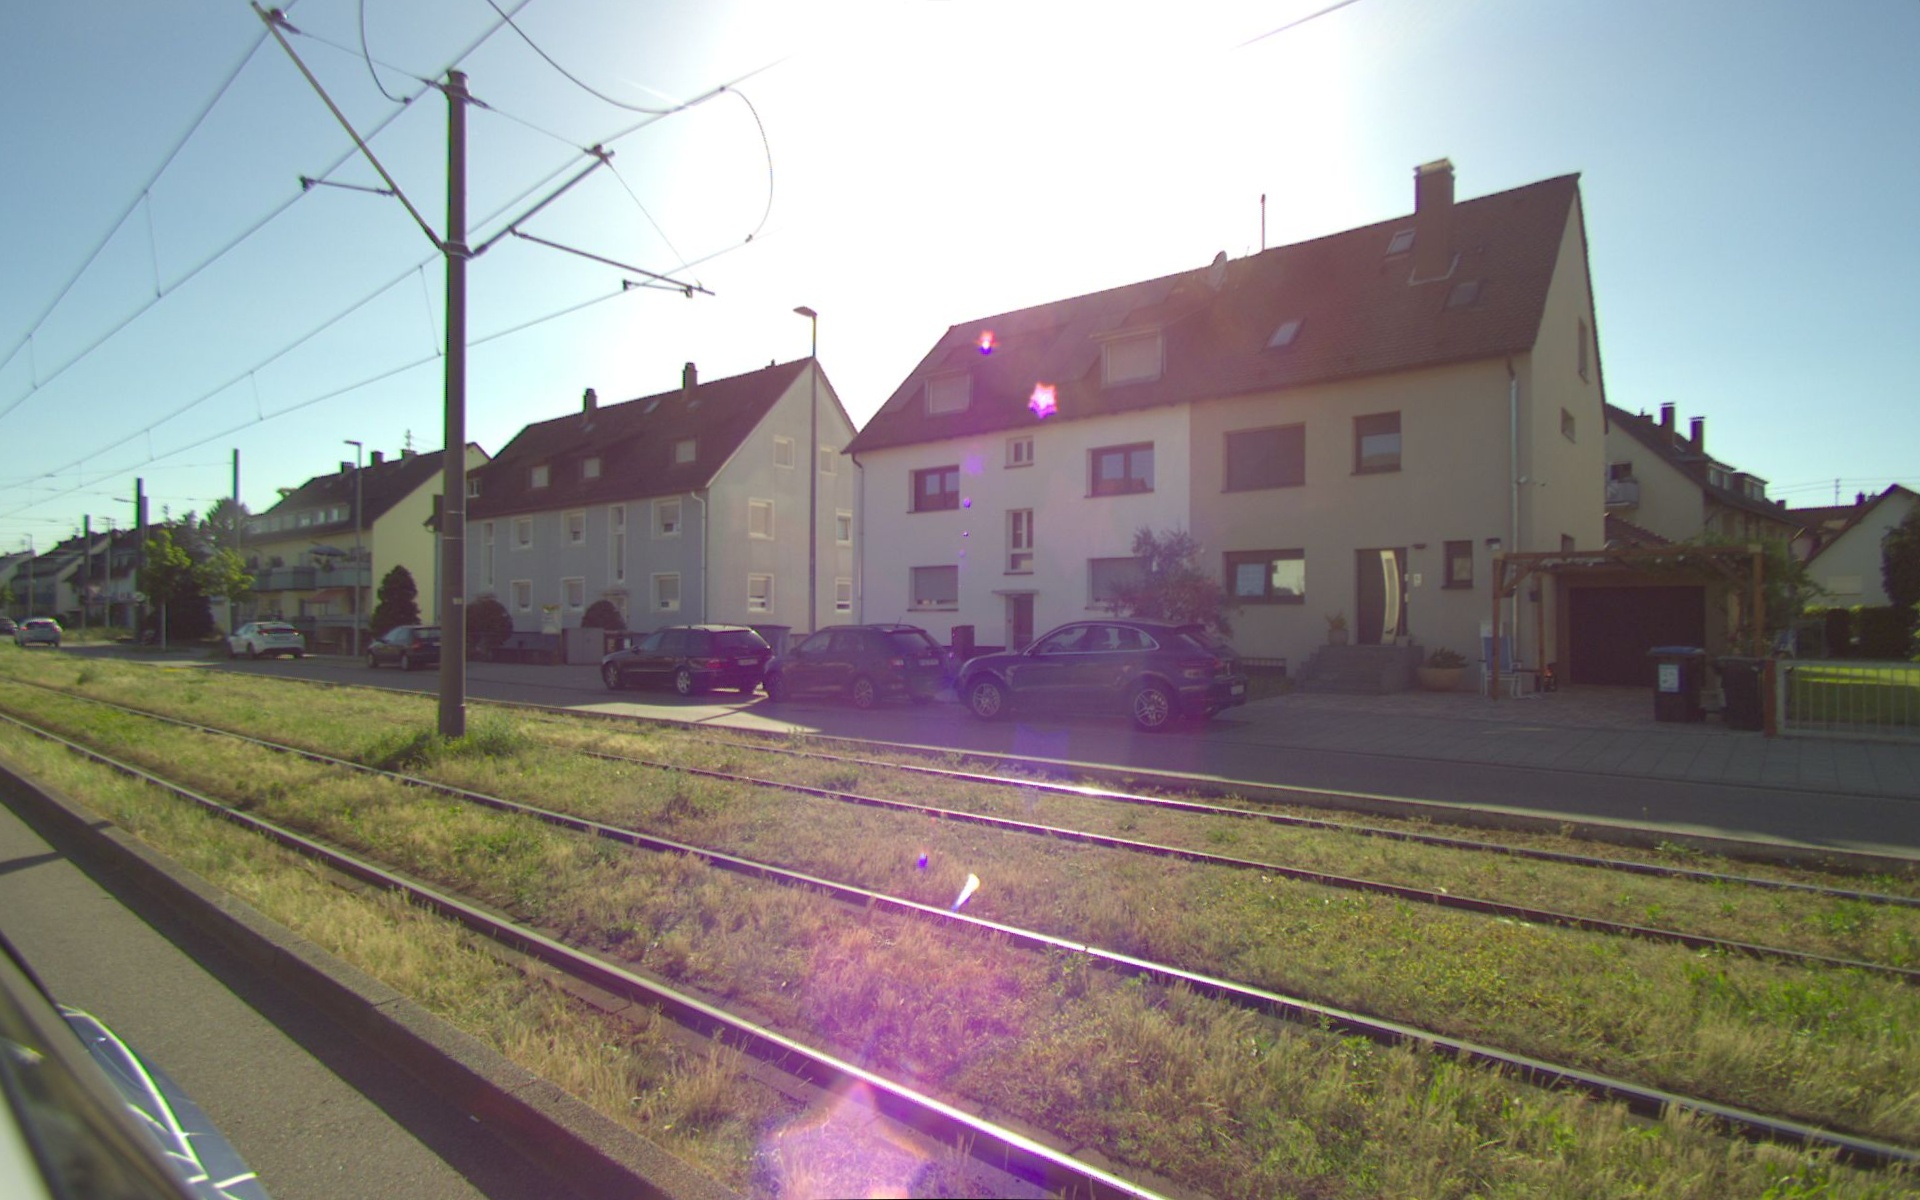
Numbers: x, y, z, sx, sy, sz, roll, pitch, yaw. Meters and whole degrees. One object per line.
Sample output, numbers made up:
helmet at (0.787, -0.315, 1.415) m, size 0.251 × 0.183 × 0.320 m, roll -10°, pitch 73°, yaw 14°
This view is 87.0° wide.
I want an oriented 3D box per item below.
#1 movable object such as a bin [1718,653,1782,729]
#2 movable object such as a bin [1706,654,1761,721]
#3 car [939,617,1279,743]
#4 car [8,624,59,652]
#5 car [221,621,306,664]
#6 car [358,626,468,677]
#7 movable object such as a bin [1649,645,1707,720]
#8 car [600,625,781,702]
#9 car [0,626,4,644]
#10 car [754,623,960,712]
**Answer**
movable object such as a bin at (10.278, 1.176, 13.167) m, size 0.607 × 0.954 × 0.196 m, roll -3°, pitch -2°, yaw 44°
movable object such as a bin at (10.736, 1.203, 14.058) m, size 0.195 × 0.893 × 0.608 m, roll -2°, pitch -1°, yaw -8°
car at (2.126, 1.074, 15.408) m, size 4.855 × 1.572 × 1.901 m, roll -1°, pitch 0°, yaw 40°
car at (-53.654, 2.186, 58.583) m, size 4.090 × 1.475 × 1.683 m, roll -1°, pitch 0°, yaw 41°
car at (-27.771, 1.654, 40.286) m, size 4.090 × 1.542 × 1.808 m, roll -1°, pitch 0°, yaw 41°
car at (-17.139, 1.557, 31.643) m, size 4.090 × 1.408 × 1.683 m, roll -1°, pitch 0°, yaw 41°
movable object such as a bin at (10.068, 1.151, 14.203) m, size 0.607 × 1.021 × 0.196 m, roll -3°, pitch -2°, yaw 44°
car at (-5.974, 1.309, 22.136) m, size 4.398 × 1.466 × 1.636 m, roll -1°, pitch 0°, yaw 41°
car at (-84.233, 3.037, 87.411) m, size 4.090 × 1.581 × 1.991 m, roll -1°, pitch 0°, yaw 41°
car at (-1.987, 1.189, 18.767) m, size 3.995 × 1.479 × 1.450 m, roll -2°, pitch -3°, yaw 40°
